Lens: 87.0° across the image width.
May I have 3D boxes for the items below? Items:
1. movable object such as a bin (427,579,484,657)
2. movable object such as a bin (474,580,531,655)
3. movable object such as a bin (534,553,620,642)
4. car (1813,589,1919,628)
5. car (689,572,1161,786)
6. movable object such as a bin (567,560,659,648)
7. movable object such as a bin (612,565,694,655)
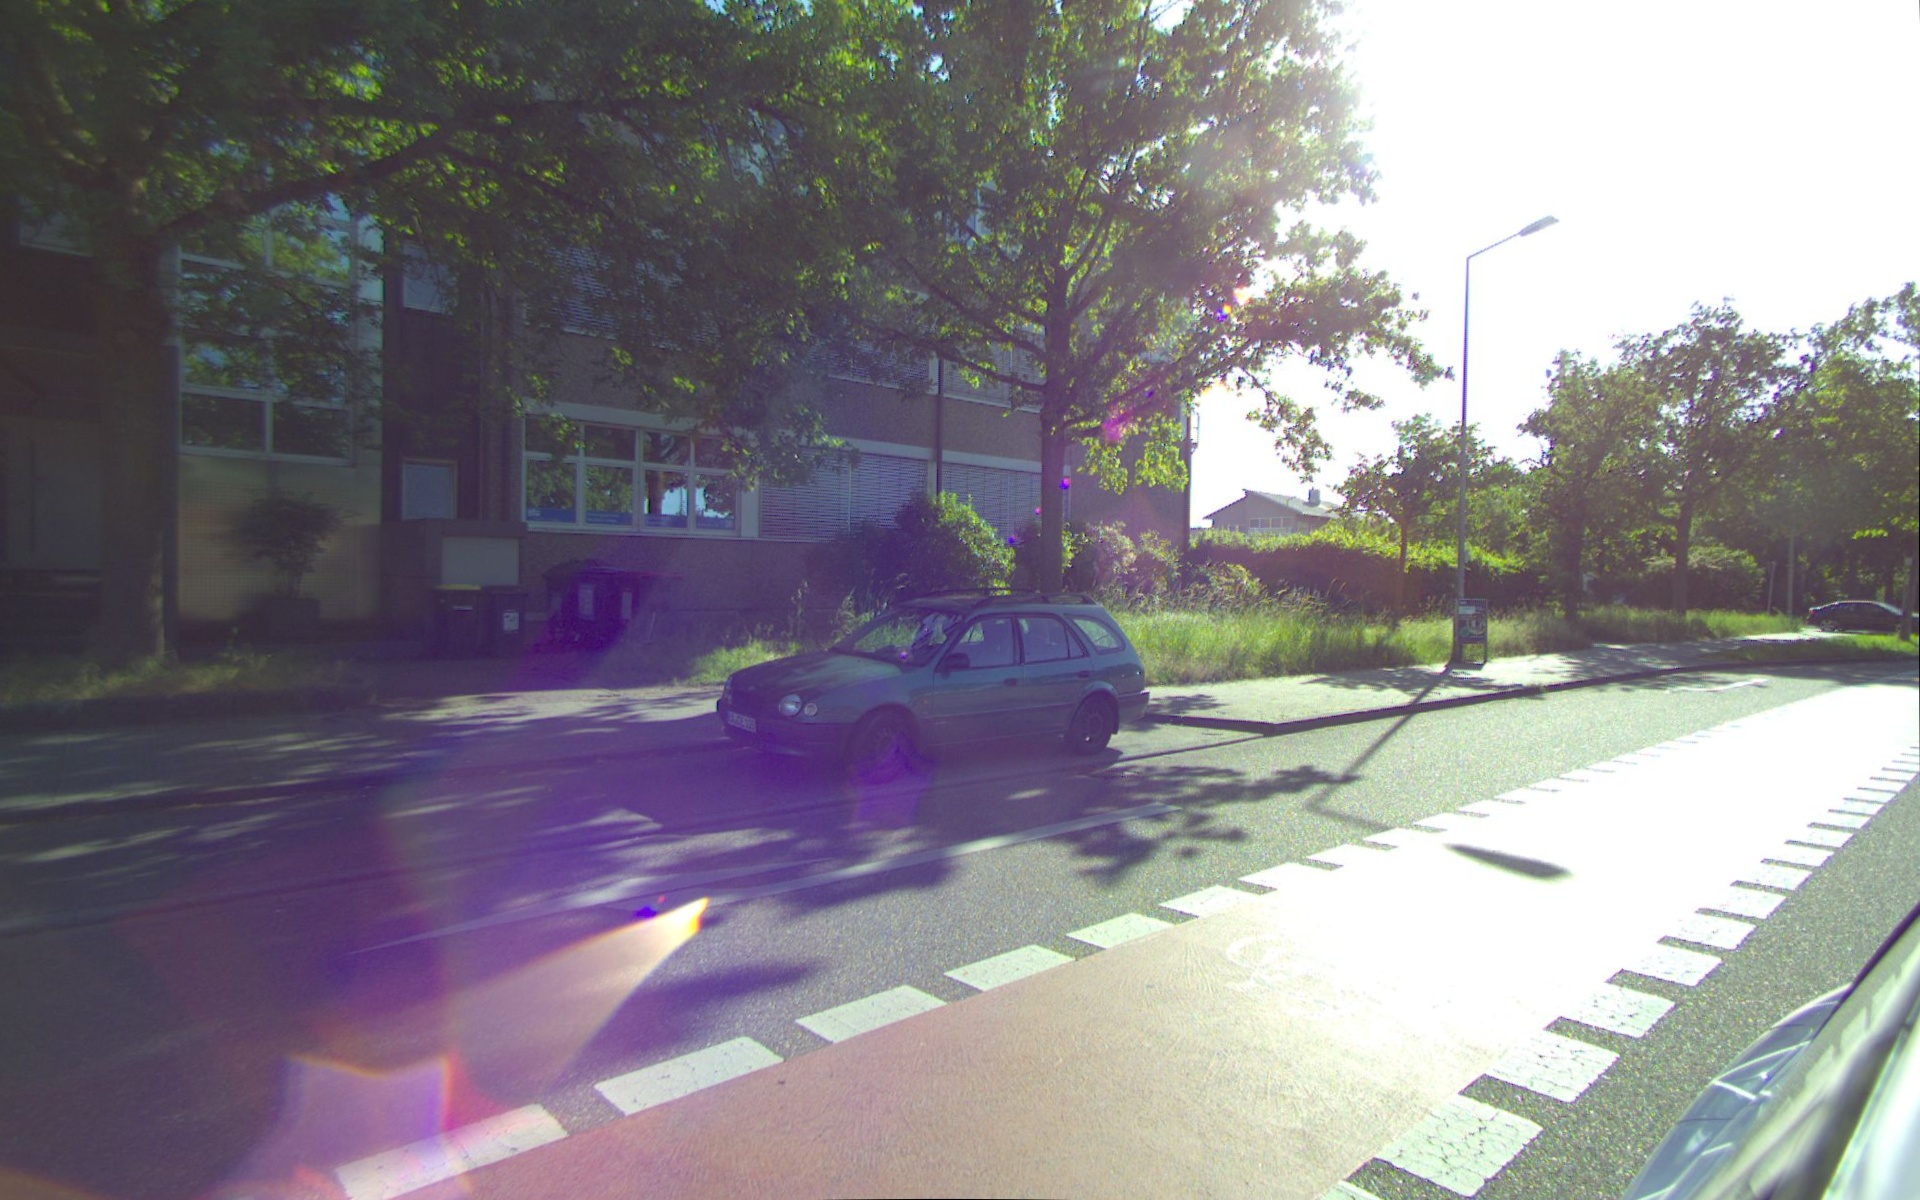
[{"bbox_3d":[-7.224,0.245,14.487,0.575,1.070,0.625,0,1,-42],"label":"movable object such as a bin"},{"bbox_3d":[-6.768,0.240,14.968,0.604,1.075,0.634,0,1,-42],"label":"movable object such as a bin"},{"bbox_3d":[-6.790,-0.074,17.931,1.024,1.501,1.309,0,2,-41],"label":"movable object such as a bin"},{"bbox_3d":[40.213,0.348,43.921,1.859,1.538,4.495,0,2,-29],"label":"car"},{"bbox_3d":[-0.154,0.573,9.122,4.068,1.487,1.705,1,1,-41],"label":"car"},{"bbox_3d":[-5.781,0.043,16.850,1.070,1.388,1.186,0,2,-43],"label":"movable object such as a bin"},{"bbox_3d":[-4.790,0.125,15.763,0.878,1.323,1.186,0,2,-37],"label":"movable object such as a bin"}]
